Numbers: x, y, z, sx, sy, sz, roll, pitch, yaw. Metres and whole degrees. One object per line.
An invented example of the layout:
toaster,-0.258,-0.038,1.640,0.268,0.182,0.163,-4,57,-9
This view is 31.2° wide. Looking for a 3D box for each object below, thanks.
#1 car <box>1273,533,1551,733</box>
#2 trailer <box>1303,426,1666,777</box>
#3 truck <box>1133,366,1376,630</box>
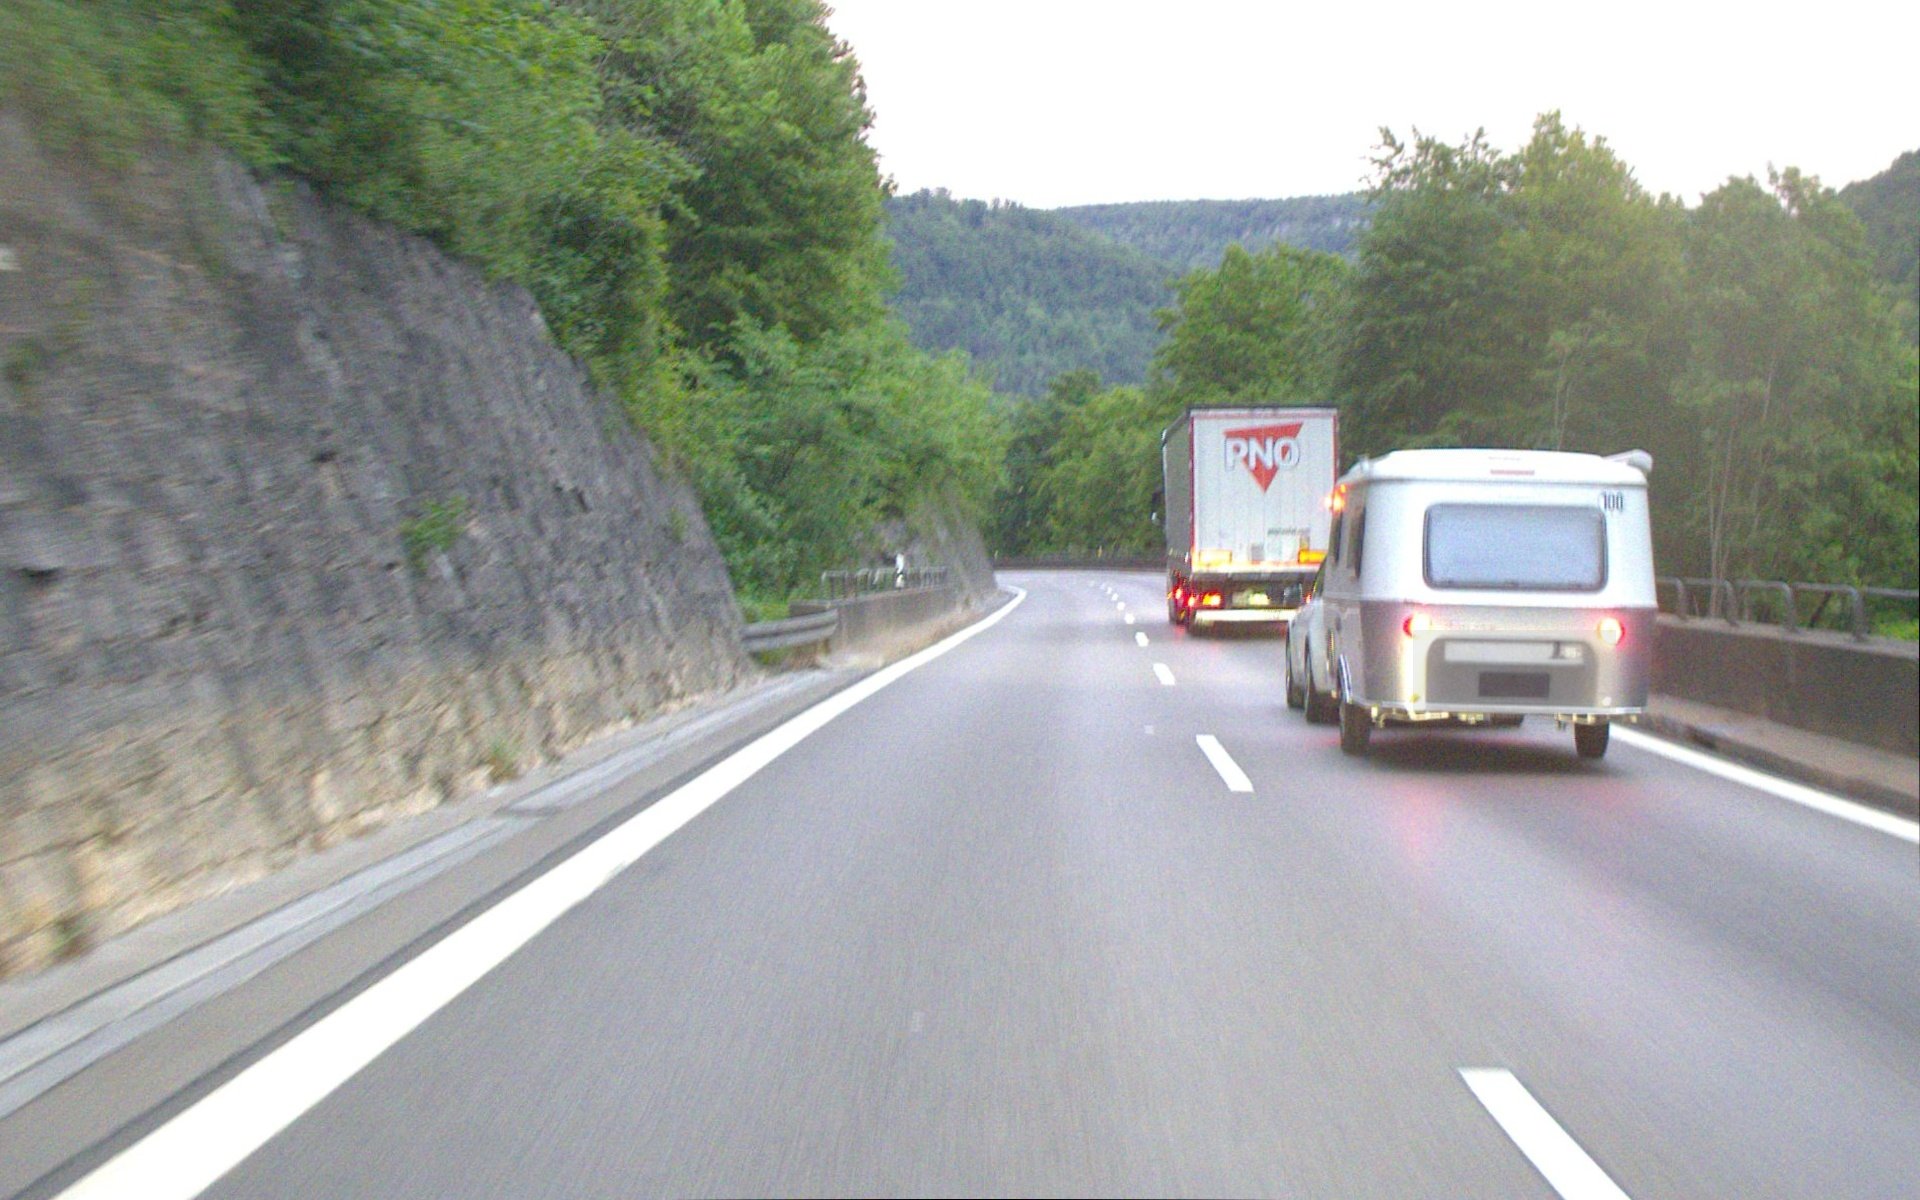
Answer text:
car,4.010,0.248,31.285,1.993,1.609,4.864,2,1,2
trailer,3.837,-0.037,26.180,2.055,2.367,5.938,0,1,2
truck,5.338,-1.789,65.746,3.295,4.158,16.502,-5,1,1
